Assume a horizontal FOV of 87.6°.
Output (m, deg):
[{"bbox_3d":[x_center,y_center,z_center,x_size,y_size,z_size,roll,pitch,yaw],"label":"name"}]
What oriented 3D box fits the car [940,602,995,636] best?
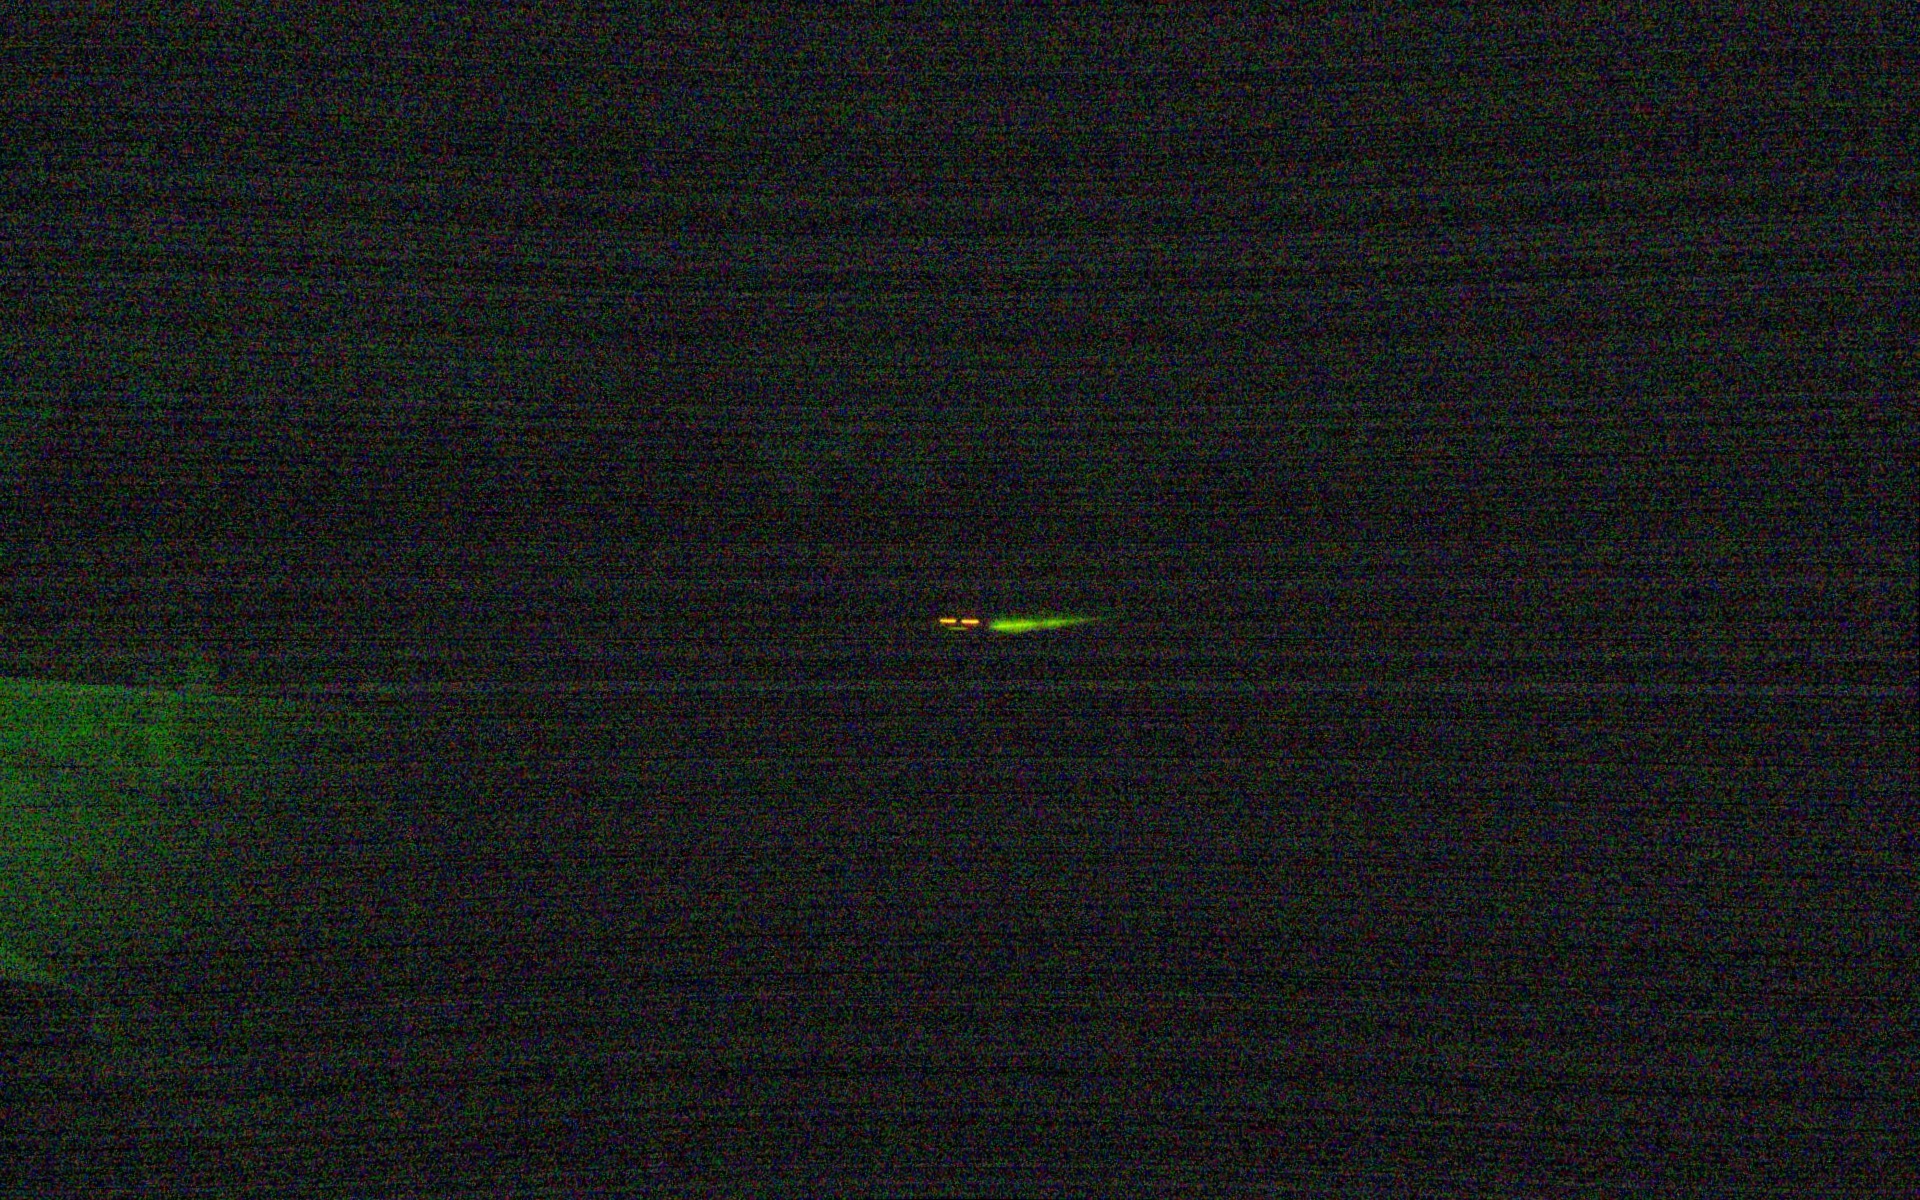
[{"bbox_3d":[0.469,1.090,56.732,1.904,1.839,4.257,0,-1,19],"label":"car"}]
